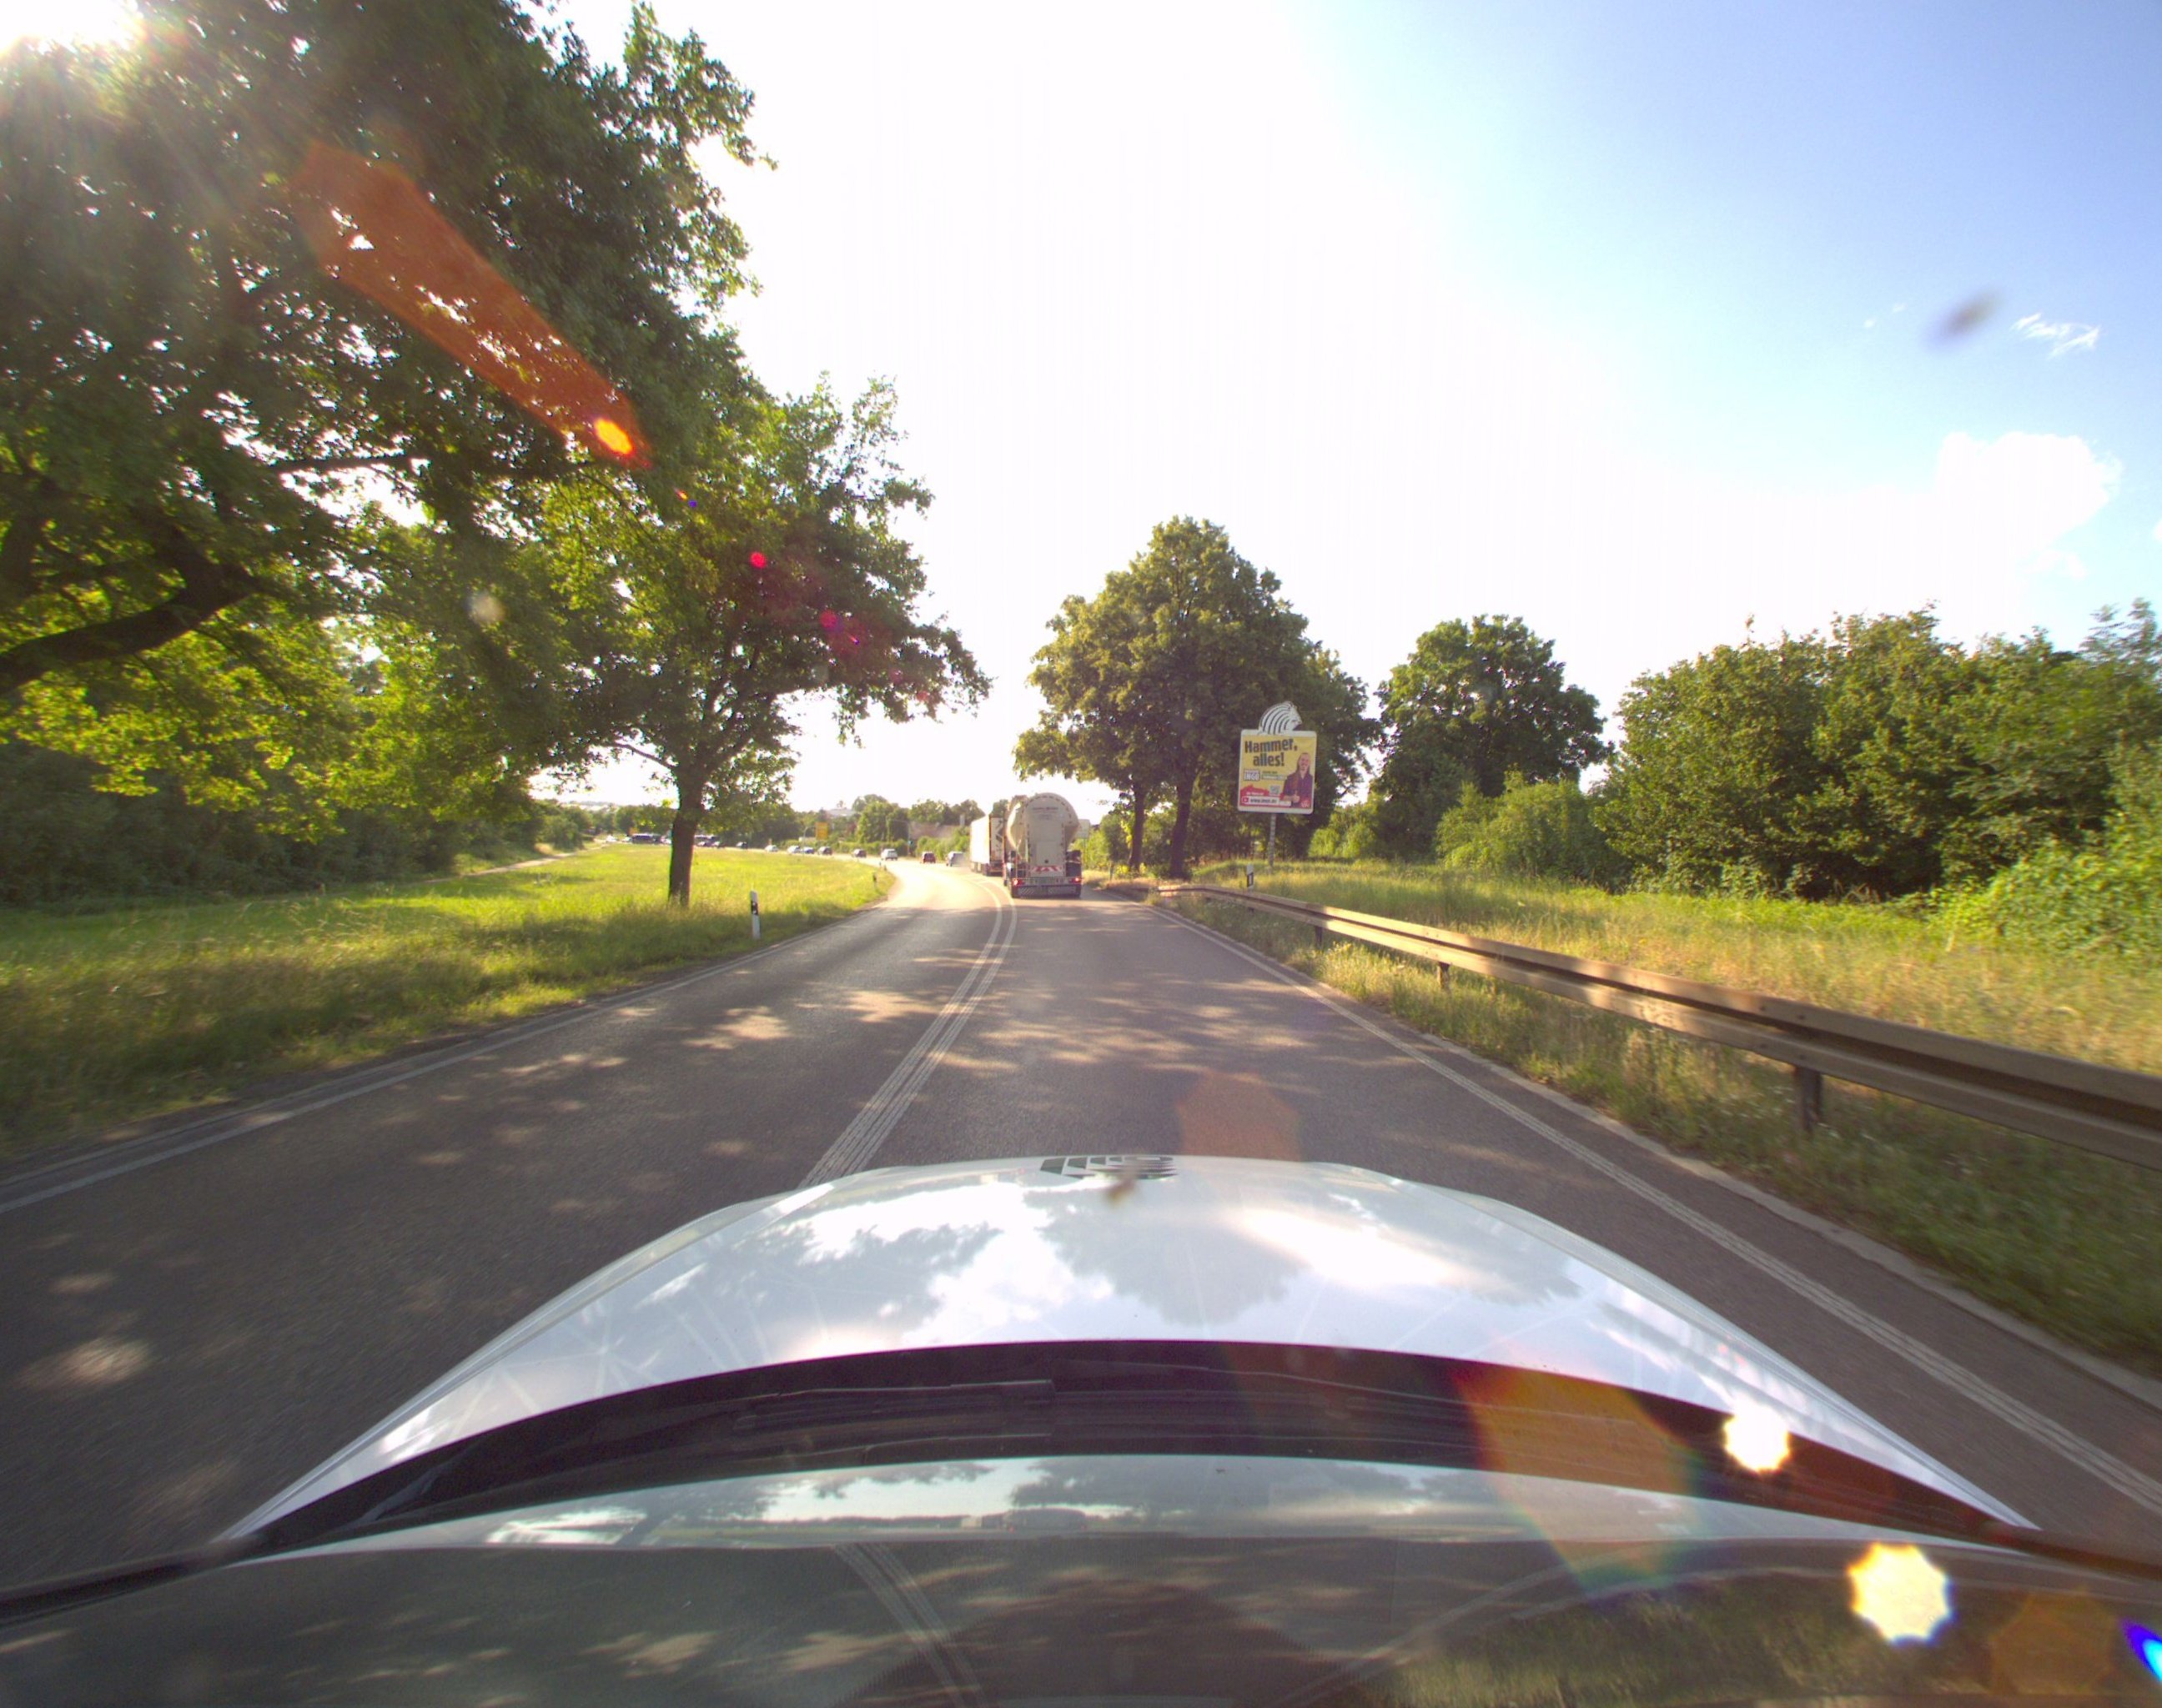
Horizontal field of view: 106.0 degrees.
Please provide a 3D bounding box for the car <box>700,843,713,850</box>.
[{"bbox_3d":[-99.982,-1.982,217.136,2.103,1.599,3.952,0,0,-42],"label":"car"}]

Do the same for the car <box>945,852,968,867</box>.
[{"bbox_3d":[-13.528,0.614,88.239,1.997,1.656,3.979,0,-1,-16],"label":"car"}]

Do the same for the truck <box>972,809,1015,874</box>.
[{"bbox_3d":[-6.950,-0.911,64.295,2.963,4.886,6.408,0,-1,-10],"label":"truck"}]

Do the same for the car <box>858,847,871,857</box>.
[{"bbox_3d":[-37.625,-0.298,141.616,1.527,1.656,3.839,0,-1,-26],"label":"car"}]

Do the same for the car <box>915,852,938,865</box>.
[{"bbox_3d":[-19.976,0.630,105.118,2.307,1.656,4.386,0,-1,-20],"label":"car"}]

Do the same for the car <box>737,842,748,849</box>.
[{"bbox_3d":[-85.417,-2.078,205.508,1.740,1.656,3.830,0,-1,-36],"label":"car"}]

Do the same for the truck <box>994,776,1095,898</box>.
[{"bbox_3d":[-1.863,-0.519,33.864,2.975,4.175,11.627,0,-1,-9],"label":"truck"}]

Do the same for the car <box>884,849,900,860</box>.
[{"bbox_3d":[-29.218,0.047,125.969,1.849,1.656,3.970,0,-1,-23],"label":"car"}]

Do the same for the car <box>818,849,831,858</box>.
[{"bbox_3d":[-50.750,-0.122,161.254,1.530,1.656,3.833,0,-1,-32],"label":"car"}]

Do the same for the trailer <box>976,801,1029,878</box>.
[{"bbox_3d":[-5.657,-0.903,56.930,2.964,4.882,10.252,0,-1,-10],"label":"trailer"}]

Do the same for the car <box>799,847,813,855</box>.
[{"bbox_3d":[-57.343,-0.658,169.751,1.692,1.559,3.829,0,-1,-37],"label":"car"}]

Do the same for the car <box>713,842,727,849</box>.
[{"bbox_3d":[-93.125,-2.174,210.145,2.103,1.599,3.952,0,1,-42],"label":"car"}]

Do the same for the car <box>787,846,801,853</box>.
[{"bbox_3d":[-62.400,-0.963,176.945,1.692,1.559,3.829,0,-1,-37],"label":"car"}]

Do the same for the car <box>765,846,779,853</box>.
[{"bbox_3d":[-71.301,-1.060,187.888,1.991,1.656,3.829,0,-1,-37],"label":"car"}]
